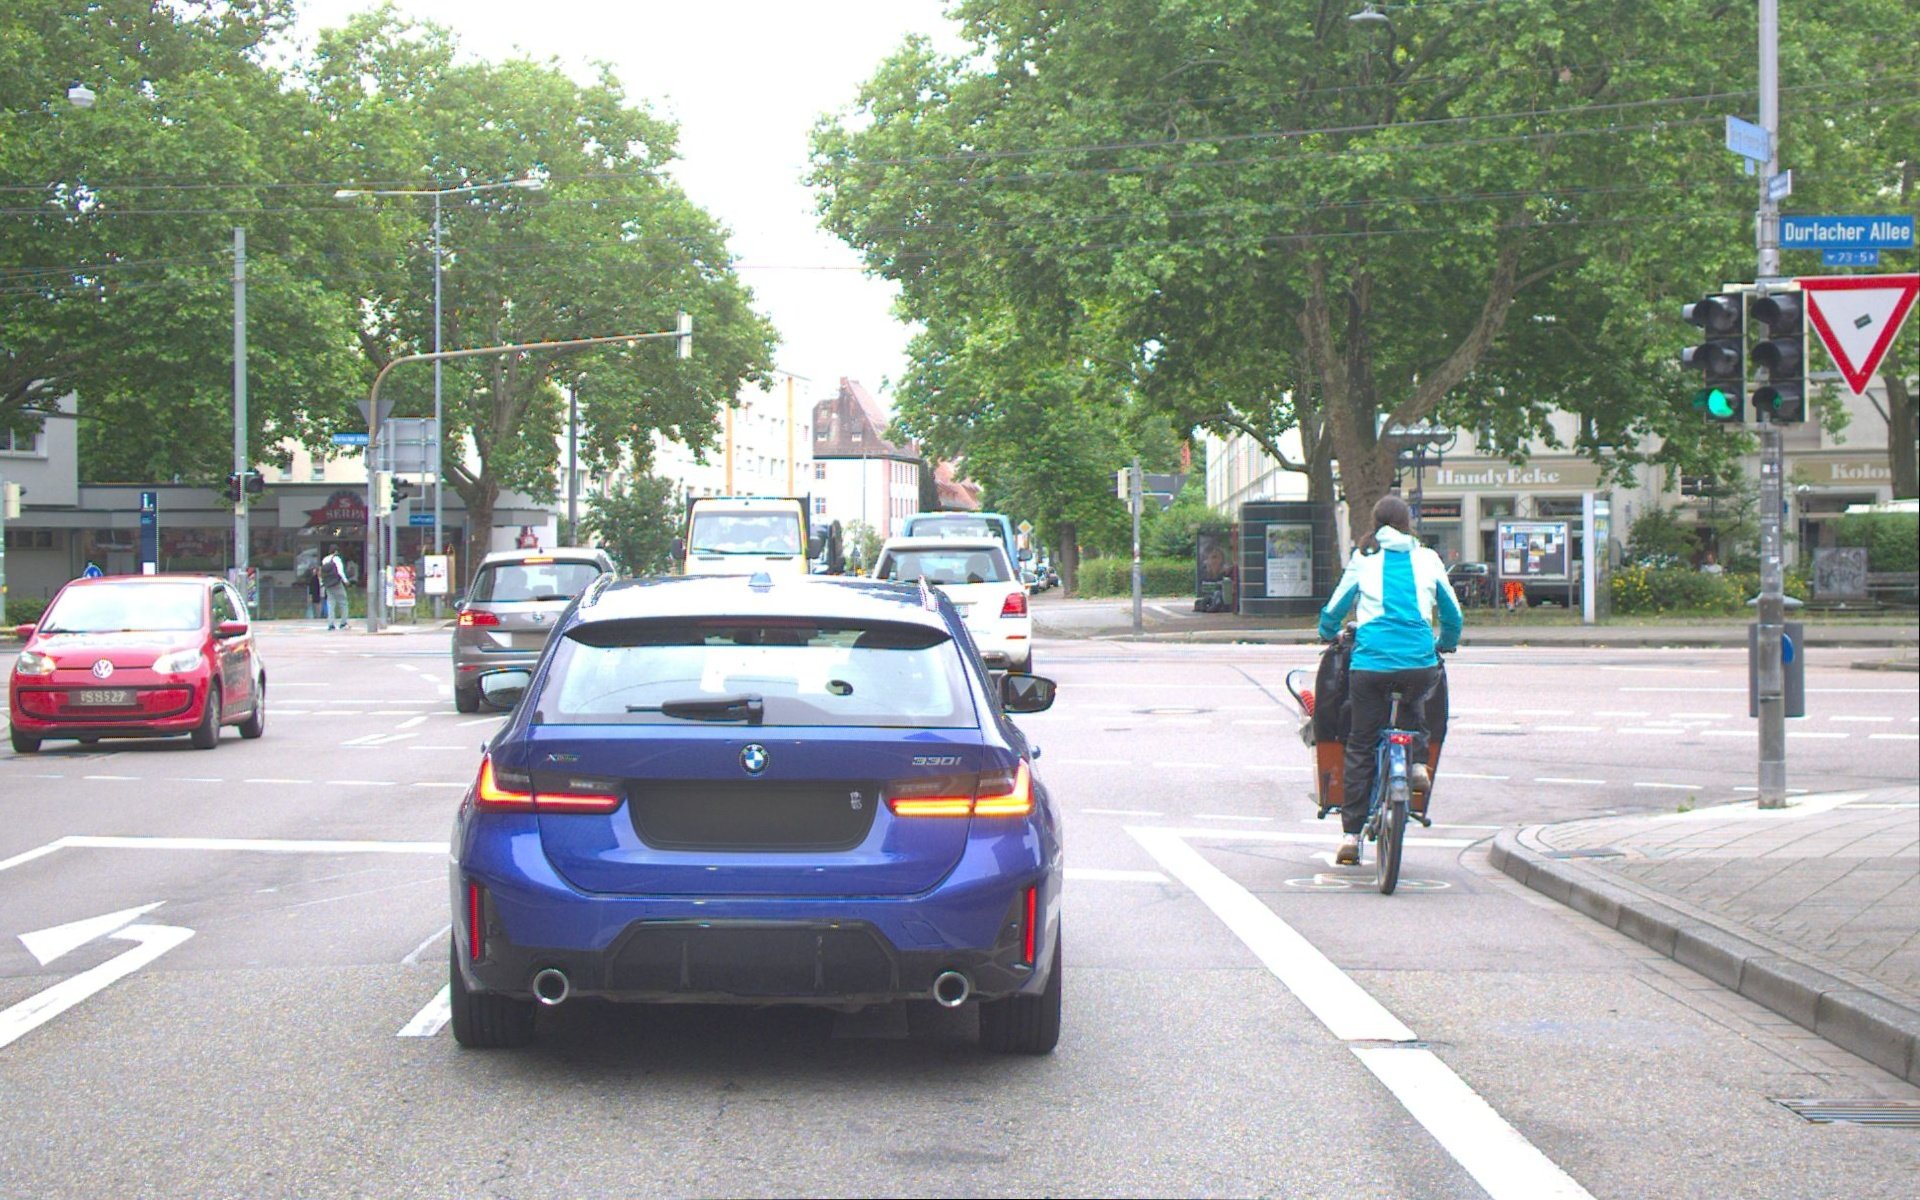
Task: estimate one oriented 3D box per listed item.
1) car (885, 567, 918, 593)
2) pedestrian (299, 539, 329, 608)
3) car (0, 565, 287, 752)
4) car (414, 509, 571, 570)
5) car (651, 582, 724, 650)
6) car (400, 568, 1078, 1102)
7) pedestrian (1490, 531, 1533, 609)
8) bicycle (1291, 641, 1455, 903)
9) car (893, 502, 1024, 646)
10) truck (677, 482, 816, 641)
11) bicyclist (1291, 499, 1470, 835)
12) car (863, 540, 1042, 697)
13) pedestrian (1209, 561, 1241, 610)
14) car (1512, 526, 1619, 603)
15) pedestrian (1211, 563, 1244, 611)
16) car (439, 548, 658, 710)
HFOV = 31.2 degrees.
[{"bbox_3d":[-3.379,-1.187,198.284,1.853,1.448,4.167,0,1,0],"label":"car"},{"bbox_3d":[-16.784,-0.692,89.286,0.574,1.779,0.620,0,1,8],"label":"pedestrian"},{"bbox_3d":[-6.801,0.445,28.812,1.649,1.442,3.511,-1,1,0],"label":"car"},{"bbox_3d":[-13.384,-1.717,98.437,3.987,1.700,2.000,0,0,-34],"label":"car"},{"bbox_3d":[-8.421,0.483,106.518,1.920,2.007,3.936,-1,1,0],"label":"car"},{"bbox_3d":[-0.613,0.614,11.439,1.815,1.400,4.320,-1,1,0],"label":"car"},{"bbox_3d":[12.414,-0.672,77.434,0.784,1.738,0.925,0,0,-2],"label":"pedestrian"},{"bbox_3d":[1.928,0.773,16.274,0.494,1.094,2.139,-1,1,0],"label":"bicycle"},{"bbox_3d":[-0.036,-0.394,49.938,1.815,1.998,4.000,-1,1,0],"label":"car"},{"bbox_3d":[-3.399,-0.639,55.581,2.074,2.400,5.463,-1,1,-2],"label":"truck"},{"bbox_3d":[1.951,0.296,16.053,0.686,1.512,1.058,-1,1,0],"label":"bicyclist"},{"bbox_3d":[-0.090,0.155,37.086,1.815,1.586,4.000,-1,1,0],"label":"car"},{"bbox_3d":[7.422,-0.401,96.250,0.817,1.367,0.762,0,0,0],"label":"pedestrian"},{"bbox_3d":[17.633,-1.043,99.993,2.177,2.193,3.995,0,1,24],"label":"car"},{"bbox_3d":[7.419,-0.363,95.312,0.853,1.310,0.762,0,0,0],"label":"pedestrian"},{"bbox_3d":[-4.056,0.243,34.402,1.732,1.520,4.000,-1,1,0],"label":"car"}]
